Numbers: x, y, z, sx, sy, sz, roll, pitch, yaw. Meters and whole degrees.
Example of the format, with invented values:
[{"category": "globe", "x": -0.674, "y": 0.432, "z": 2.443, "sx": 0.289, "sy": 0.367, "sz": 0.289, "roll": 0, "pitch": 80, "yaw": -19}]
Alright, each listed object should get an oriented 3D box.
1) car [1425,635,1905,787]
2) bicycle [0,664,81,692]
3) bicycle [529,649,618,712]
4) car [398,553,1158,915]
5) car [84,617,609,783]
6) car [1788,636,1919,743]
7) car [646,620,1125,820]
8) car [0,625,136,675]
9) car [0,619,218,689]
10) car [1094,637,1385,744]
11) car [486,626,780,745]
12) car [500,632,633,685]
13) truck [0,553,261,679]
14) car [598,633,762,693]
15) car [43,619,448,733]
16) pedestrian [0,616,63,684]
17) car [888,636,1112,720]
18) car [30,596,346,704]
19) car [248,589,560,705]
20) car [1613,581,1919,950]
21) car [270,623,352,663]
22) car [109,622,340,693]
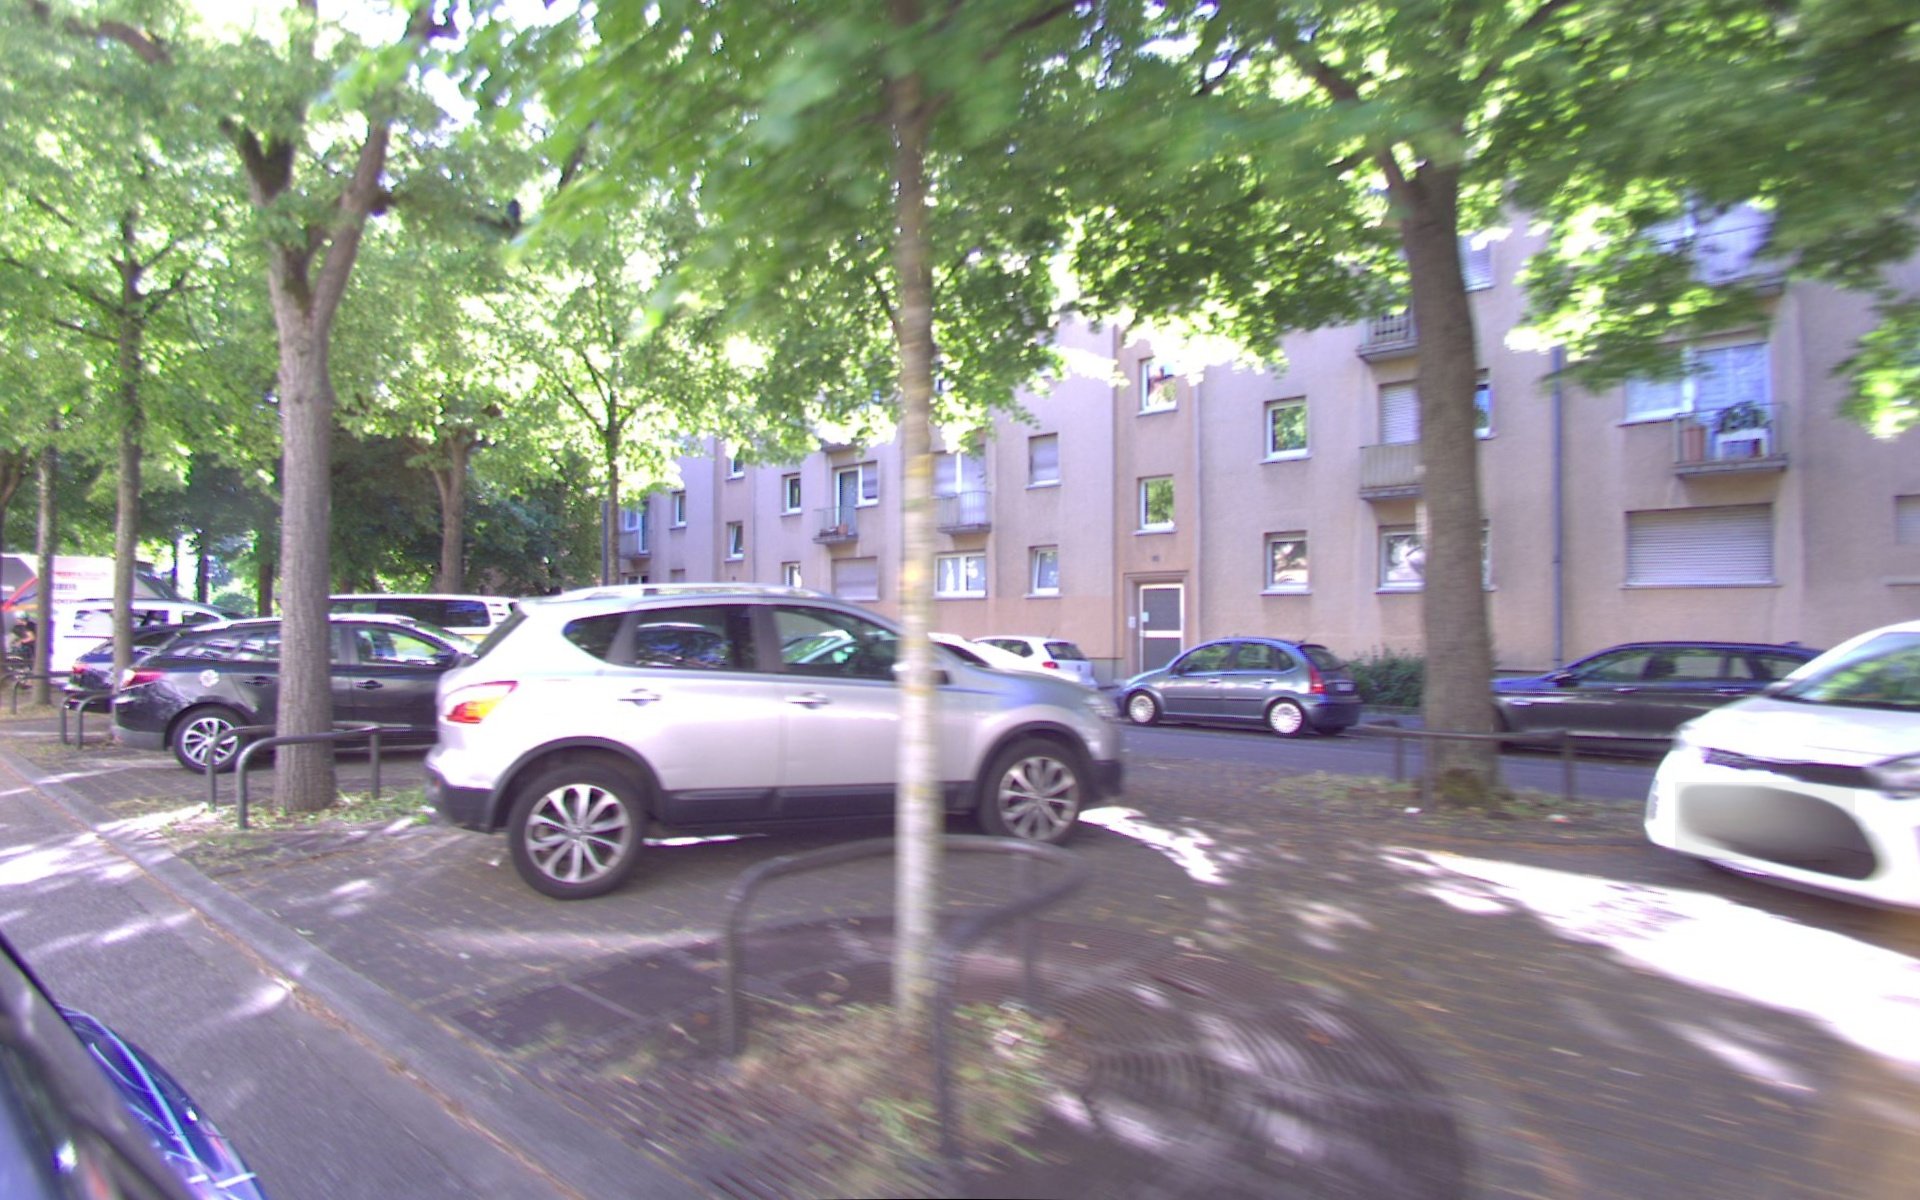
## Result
[{"category": "car", "x": 8.379, "y": 1.189, "z": 12.383, "sx": 4.530, "sy": 1.519, "sz": 1.973, "roll": -2, "pitch": -3, "yaw": 41}, {"category": "bicycle", "x": -19.569, "y": 1.635, "z": 21.280, "sx": 1.586, "sy": 0.563, "sz": 0.411, "roll": 0, "pitch": -2, "yaw": -18}, {"category": "bicycle", "x": -6.249, "y": 1.273, "z": 16.333, "sx": 1.763, "sy": 0.947, "sz": 0.432, "roll": -2, "pitch": -1, "yaw": 35}, {"category": "car", "x": -1.023, "y": 0.664, "z": 6.284, "sx": 4.075, "sy": 1.692, "sz": 1.765, "roll": 0, "pitch": -2, "yaw": -20}, {"category": "car", "x": -5.971, "y": 0.916, "z": 10.473, "sx": 4.348, "sy": 1.473, "sz": 1.721, "roll": 0, "pitch": -1, "yaw": -17}, {"category": "car", "x": 13.371, "y": 1.176, "z": 13.444, "sx": 3.610, "sy": 1.397, "sz": 1.608, "roll": -2, "pitch": -3, "yaw": 41}, {"category": "car", "x": -0.741, "y": 0.943, "z": 9.162, "sx": 3.973, "sy": 1.413, "sz": 1.829, "roll": -1, "pitch": 0, "yaw": -17}, {"category": "car", "x": -29.329, "y": 1.575, "z": 32.320, "sx": 4.270, "sy": 1.518, "sz": 1.819, "roll": 0, "pitch": -2, "yaw": -15}, {"category": "car", "x": -19.953, "y": 1.212, "z": 23.496, "sx": 4.038, "sy": 1.518, "sz": 1.738, "roll": 0, "pitch": -1, "yaw": -18}, {"category": "car", "x": 4.296, "y": 1.314, "z": 15.881, "sx": 3.998, "sy": 1.428, "sz": 1.872, "roll": -1, "pitch": -2, "yaw": 41}, {"category": "car", "x": -4.308, "y": 1.091, "z": 13.777, "sx": 3.573, "sy": 1.466, "sz": 1.822, "roll": 0, "pitch": -2, "yaw": -12}, {"category": "car", "x": -11.452, "y": 1.640, "z": 29.306, "sx": 4.531, "sy": 1.417, "sz": 1.602, "roll": -1, "pitch": -2, "yaw": 40}, {"category": "truck", "x": -24.214, "y": 0.484, "z": 28.265, "sx": 7.199, "sy": 3.319, "sz": 2.554, "roll": 1, "pitch": -2, "yaw": -18}, {"category": "car", "x": -7.240, "y": 1.562, "z": 25.964, "sx": 4.612, "sy": 1.403, "sz": 1.710, "roll": -1, "pitch": -3, "yaw": 39}, {"category": "car", "x": -9.985, "y": 1.021, "z": 14.576, "sx": 4.413, "sy": 1.466, "sz": 1.793, "roll": 0, "pitch": -2, "yaw": -17}, {"category": "pedestrian", "x": -19.847, "y": 1.060, "z": 21.587, "sx": 0.740, "sy": 1.407, "sz": 0.931, "roll": 0, "pitch": -2, "yaw": -18}, {"category": "car", "x": 0.696, "y": 1.410, "z": 19.294, "sx": 3.998, "sy": 1.398, "sz": 1.872, "roll": -1, "pitch": -2, "yaw": 41}, {"category": "car", "x": -14.497, "y": 0.894, "z": 19.392, "sx": 4.445, "sy": 1.879, "sz": 2.088, "roll": 0, "pitch": -1, "yaw": -24}, {"category": "car", "x": -9.548, "y": 0.814, "z": 17.866, "sx": 4.526, "sy": 1.846, "sz": 2.025, "roll": 1, "pitch": -2, "yaw": -20}, {"category": "car", "x": 5.500, "y": 0.719, "z": 5.131, "sx": 3.484, "sy": 1.519, "sz": 1.762, "roll": 1, "pitch": -2, "yaw": -15}, {"category": "car", "x": -27.809, "y": 1.818, "z": 43.331, "sx": 4.242, "sy": 1.652, "sz": 1.736, "roll": -2, "pitch": -2, "yaw": 39}, {"category": "car", "x": -15.930, "y": 1.213, "z": 22.116, "sx": 3.737, "sy": 1.417, "sz": 1.628, "roll": 0, "pitch": -1, "yaw": -15}]
